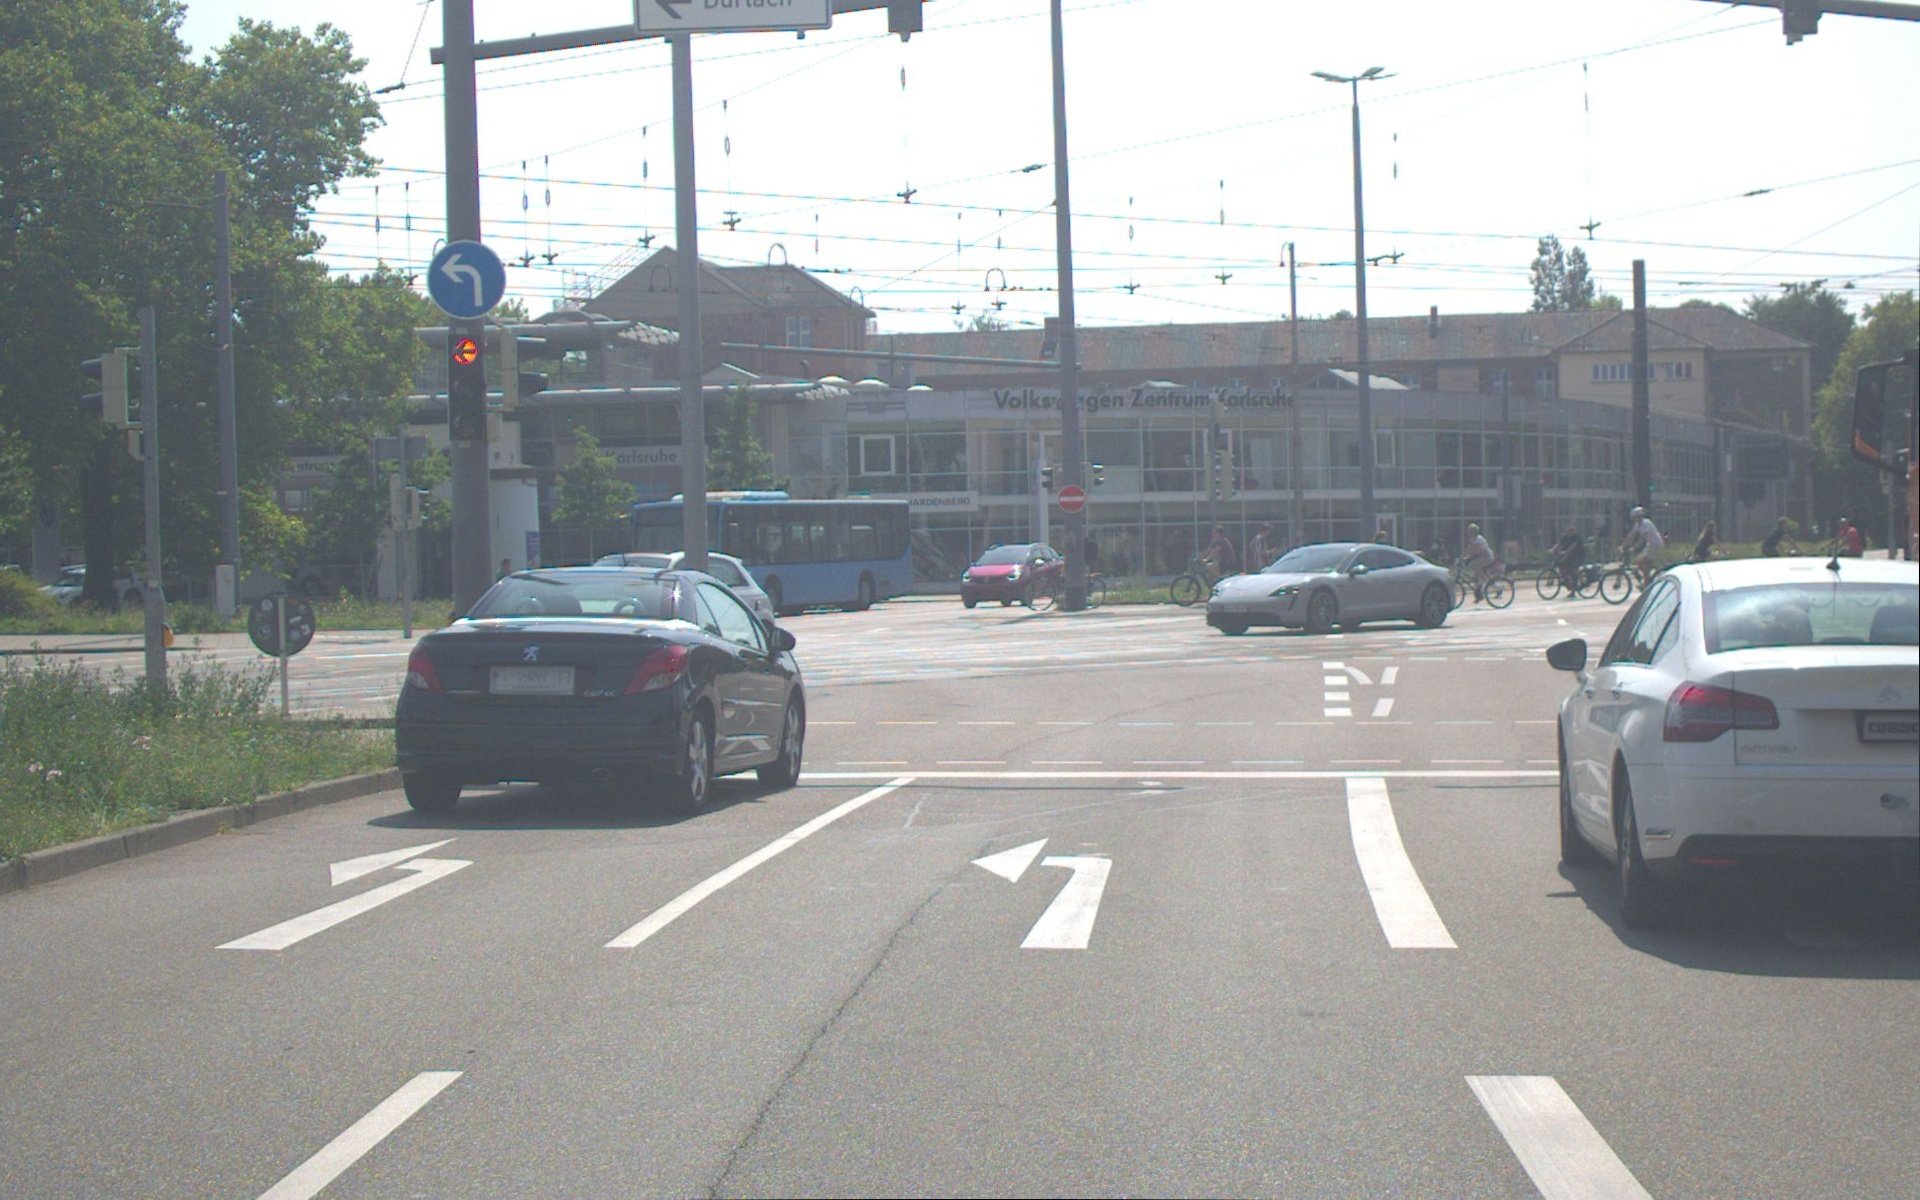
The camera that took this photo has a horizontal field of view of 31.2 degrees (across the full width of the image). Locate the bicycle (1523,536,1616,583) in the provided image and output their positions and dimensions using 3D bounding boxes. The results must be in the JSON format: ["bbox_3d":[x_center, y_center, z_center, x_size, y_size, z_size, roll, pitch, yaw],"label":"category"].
[{"bbox_3d":[13.877,-0.923,78.274,1.977,1.015,0.715,-2,1,-20],"label":"bicycle"}]

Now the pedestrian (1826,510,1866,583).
[{"bbox_3d":[18.767,-1.132,72.795,0.663,1.529,0.713,-1,1,27],"label":"pedestrian"}]

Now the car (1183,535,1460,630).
[{"bbox_3d":[5.835,-0.299,55.074,4.575,1.395,1.945,-2,1,-45],"label":"car"}]

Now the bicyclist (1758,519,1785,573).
[{"bbox_3d":[17.957,-1.188,76.064,0.504,1.184,0.507,-1,1,21],"label":"bicyclist"}]

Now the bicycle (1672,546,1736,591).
[{"bbox_3d":[16.931,-0.719,78.215,1.591,0.981,0.507,-2,1,-39],"label":"bicycle"}]

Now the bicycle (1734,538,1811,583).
[{"bbox_3d":[17.969,-0.872,76.062,1.592,0.981,0.507,-1,1,22],"label":"bicycle"}]

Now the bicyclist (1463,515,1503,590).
[{"bbox_3d":[10.704,-0.970,70.388,0.664,1.503,0.715,-1,1,-2],"label":"bicyclist"}]

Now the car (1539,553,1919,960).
[{"bbox_3d":[3.523,0.542,14.709,1.758,1.450,4.425,0,1,6],"label":"car"}]

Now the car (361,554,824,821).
[{"bbox_3d":[-2.070,0.445,20.522,1.758,1.399,3.979,0,1,9],"label":"car"}]

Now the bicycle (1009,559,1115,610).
[{"bbox_3d":[2.257,-0.347,76.000,2.196,1.084,0.763,-1,1,-14],"label":"bicycle"}]

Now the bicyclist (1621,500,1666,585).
[{"bbox_3d":[14.233,-1.201,71.576,0.704,1.758,0.715,-1,1,-6],"label":"bicyclist"}]

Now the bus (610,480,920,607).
[{"bbox_3d":[-4.670,-1.464,86.260,3.057,2.921,11.840,-1,1,21],"label":"bus"}]

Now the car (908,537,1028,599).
[{"bbox_3d":[0.231,-0.796,83.879,1.730,1.415,3.837,-1,1,19],"label":"car"}]

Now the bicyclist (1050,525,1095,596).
[{"bbox_3d":[2.493,-0.878,76.045,0.797,1.536,0.763,-1,1,-14],"label":"bicyclist"}]

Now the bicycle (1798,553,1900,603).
[{"bbox_3d":[18.820,-0.461,72.785,1.981,1.015,0.713,-1,1,28],"label":"bicycle"}]

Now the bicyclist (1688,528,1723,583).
[{"bbox_3d":[16.959,-1.018,78.243,0.594,1.243,0.507,-2,1,-39],"label":"bicyclist"}]

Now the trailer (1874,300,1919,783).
[{"bbox_3d":[7.034,-0.333,19.980,2.463,2.997,6.324,0,1,7],"label":"trailer"}]

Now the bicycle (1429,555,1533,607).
[{"bbox_3d":[10.663,-0.397,70.398,1.978,1.015,0.715,-1,1,-2],"label":"bicycle"}]

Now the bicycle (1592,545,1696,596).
[{"bbox_3d":[14.244,-0.618,71.588,1.977,1.015,0.715,-1,1,-6],"label":"bicycle"}]

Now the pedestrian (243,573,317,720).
[{"bbox_3d":[-6.091,0.409,30.780,0.595,1.264,0.505,-2,3,-13],"label":"pedestrian"}]

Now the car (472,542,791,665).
[{"bbox_3d":[-4.044,0.024,42.895,1.773,1.420,4.059,-1,1,34],"label":"car"}]

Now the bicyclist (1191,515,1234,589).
[{"bbox_3d":[5.657,-1.082,77.032,0.761,1.628,0.763,-1,1,-10],"label":"bicyclist"}]

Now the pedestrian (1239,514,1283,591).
[{"bbox_3d":[6.872,-1.086,78.575,0.784,1.746,0.808,-1,1,20],"label":"pedestrian"}]

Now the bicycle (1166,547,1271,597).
[{"bbox_3d":[5.788,-0.634,77.067,2.196,1.084,0.763,-1,1,-10],"label":"bicycle"}]

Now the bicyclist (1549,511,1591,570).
[{"bbox_3d":[13.886,-1.354,78.272,0.668,1.345,0.712,-1,1,-20],"label":"bicyclist"}]

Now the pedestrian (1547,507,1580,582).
[{"bbox_3d":[14.107,-1.302,80.325,0.622,1.746,0.628,-1,1,-1],"label":"pedestrian"}]

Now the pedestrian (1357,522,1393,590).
[{"bbox_3d":[9.603,-1.020,79.564,0.635,1.555,0.748,-1,1,-6],"label":"pedestrian"}]
